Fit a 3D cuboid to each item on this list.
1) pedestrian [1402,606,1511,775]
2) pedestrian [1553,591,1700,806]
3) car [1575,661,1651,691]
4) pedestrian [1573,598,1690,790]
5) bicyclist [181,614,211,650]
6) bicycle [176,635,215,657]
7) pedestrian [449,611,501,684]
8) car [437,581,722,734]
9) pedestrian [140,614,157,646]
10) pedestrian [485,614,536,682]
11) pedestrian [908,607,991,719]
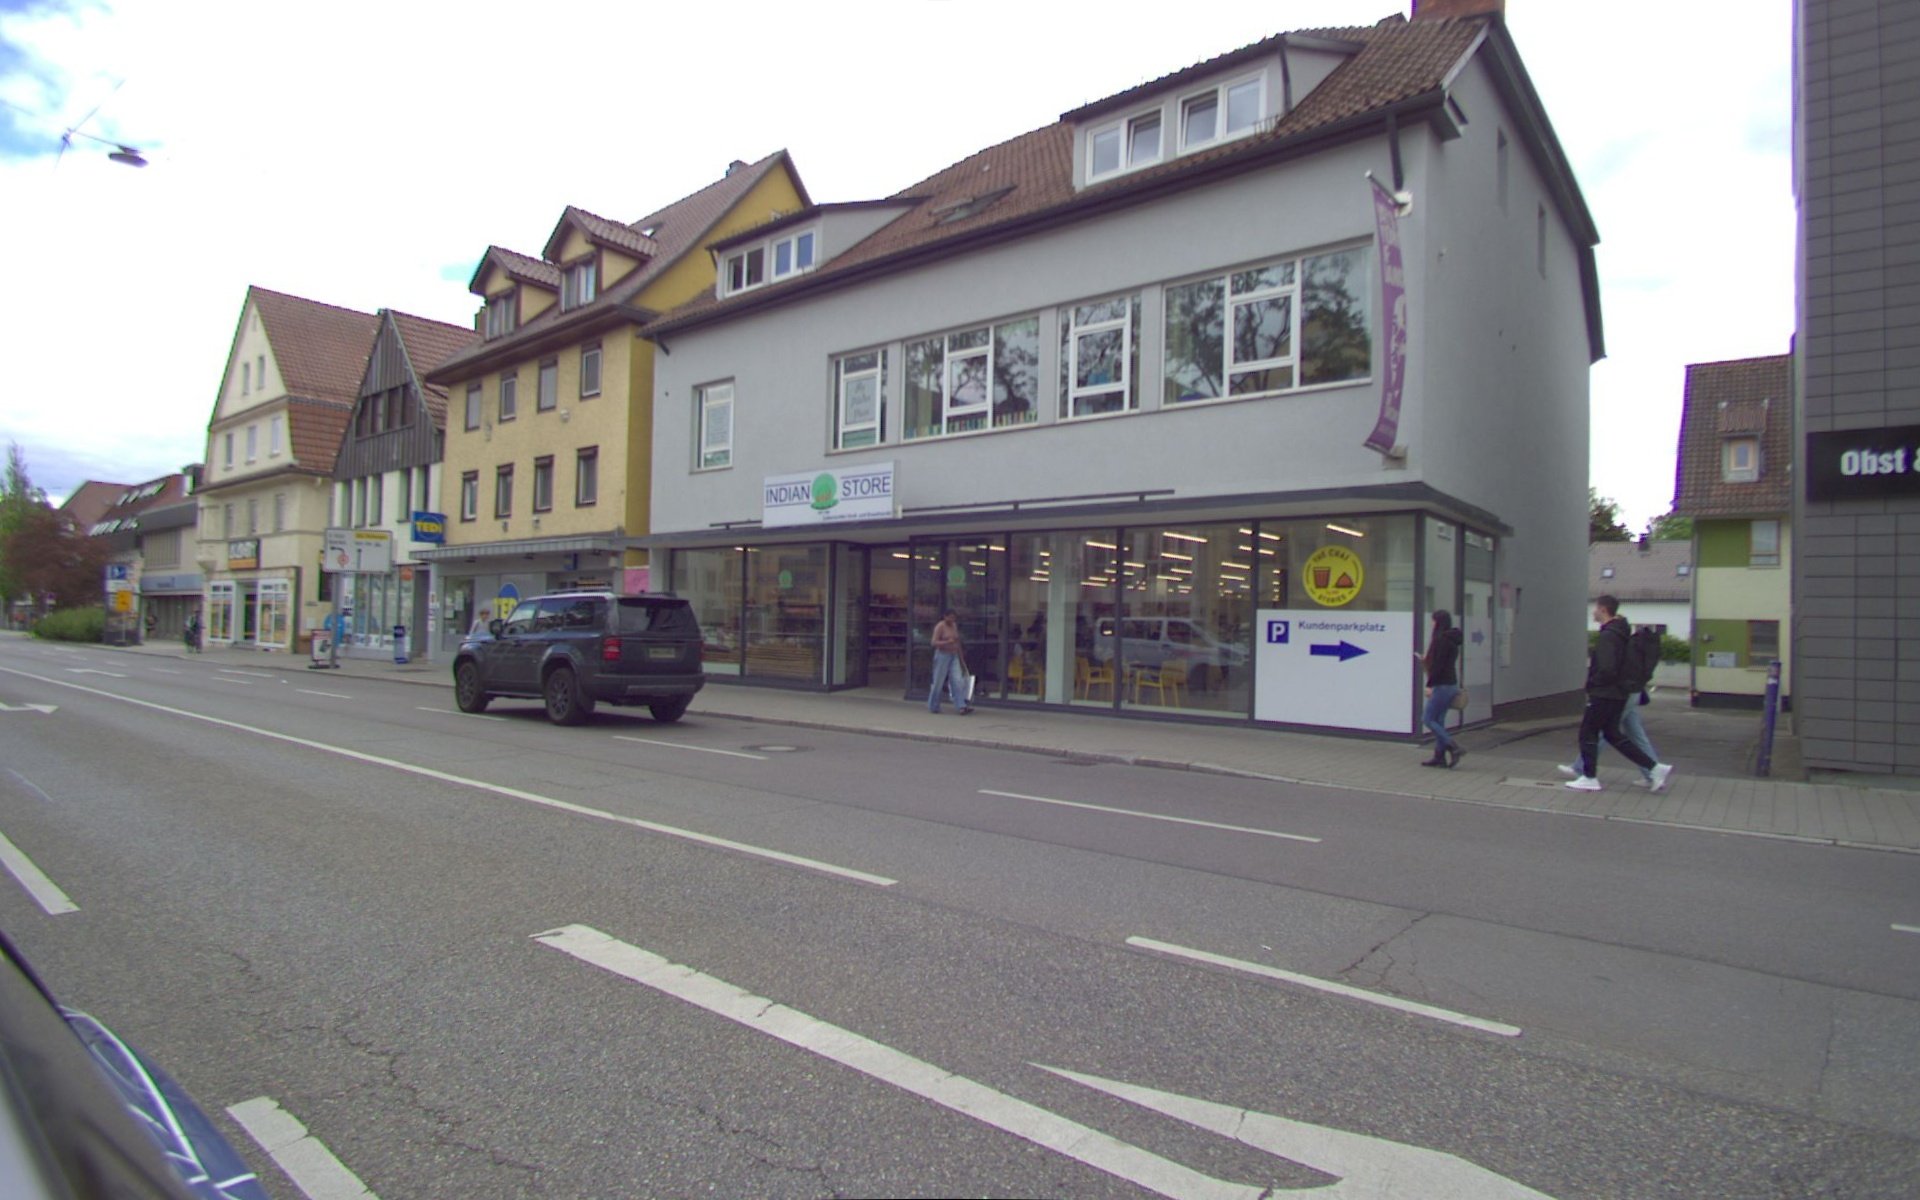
[{"bbox_3d":[5.319,0.933,10.852,0.870,1.711,0.795,-1,-3,42],"label":"pedestrian"},{"bbox_3d":[6.144,0.861,9.339,1.027,1.853,0.699,-1,-3,42],"label":"pedestrian"},{"bbox_3d":[34.503,3.988,53.577,1.628,1.424,3.786,0,-2,2],"label":"car"},{"bbox_3d":[6.641,0.890,10.012,0.870,1.795,0.699,-1,-3,42],"label":"pedestrian"},{"bbox_3d":[-30.607,1.289,40.556,0.751,1.434,0.763,-1,-2,40],"label":"bicyclist"},{"bbox_3d":[-30.616,1.827,40.529,2.238,0.829,0.763,-1,-2,40],"label":"bicycle"},{"bbox_3d":[-11.508,1.115,24.025,0.920,1.674,0.801,-1,-2,41],"label":"pedestrian"},{"bbox_3d":[-5.890,0.822,15.388,4.766,1.984,1.904,-1,-4,40],"label":"car"},{"bbox_3d":[-48.759,1.811,60.803,0.678,1.917,0.665,-1,-2,40],"label":"pedestrian"},{"bbox_3d":[-10.961,1.158,24.682,0.920,1.595,0.801,-1,-2,41],"label":"pedestrian"},{"bbox_3d":[-0.163,0.965,15.859,0.871,1.679,0.988,-1,-2,41],"label":"pedestrian"}]
